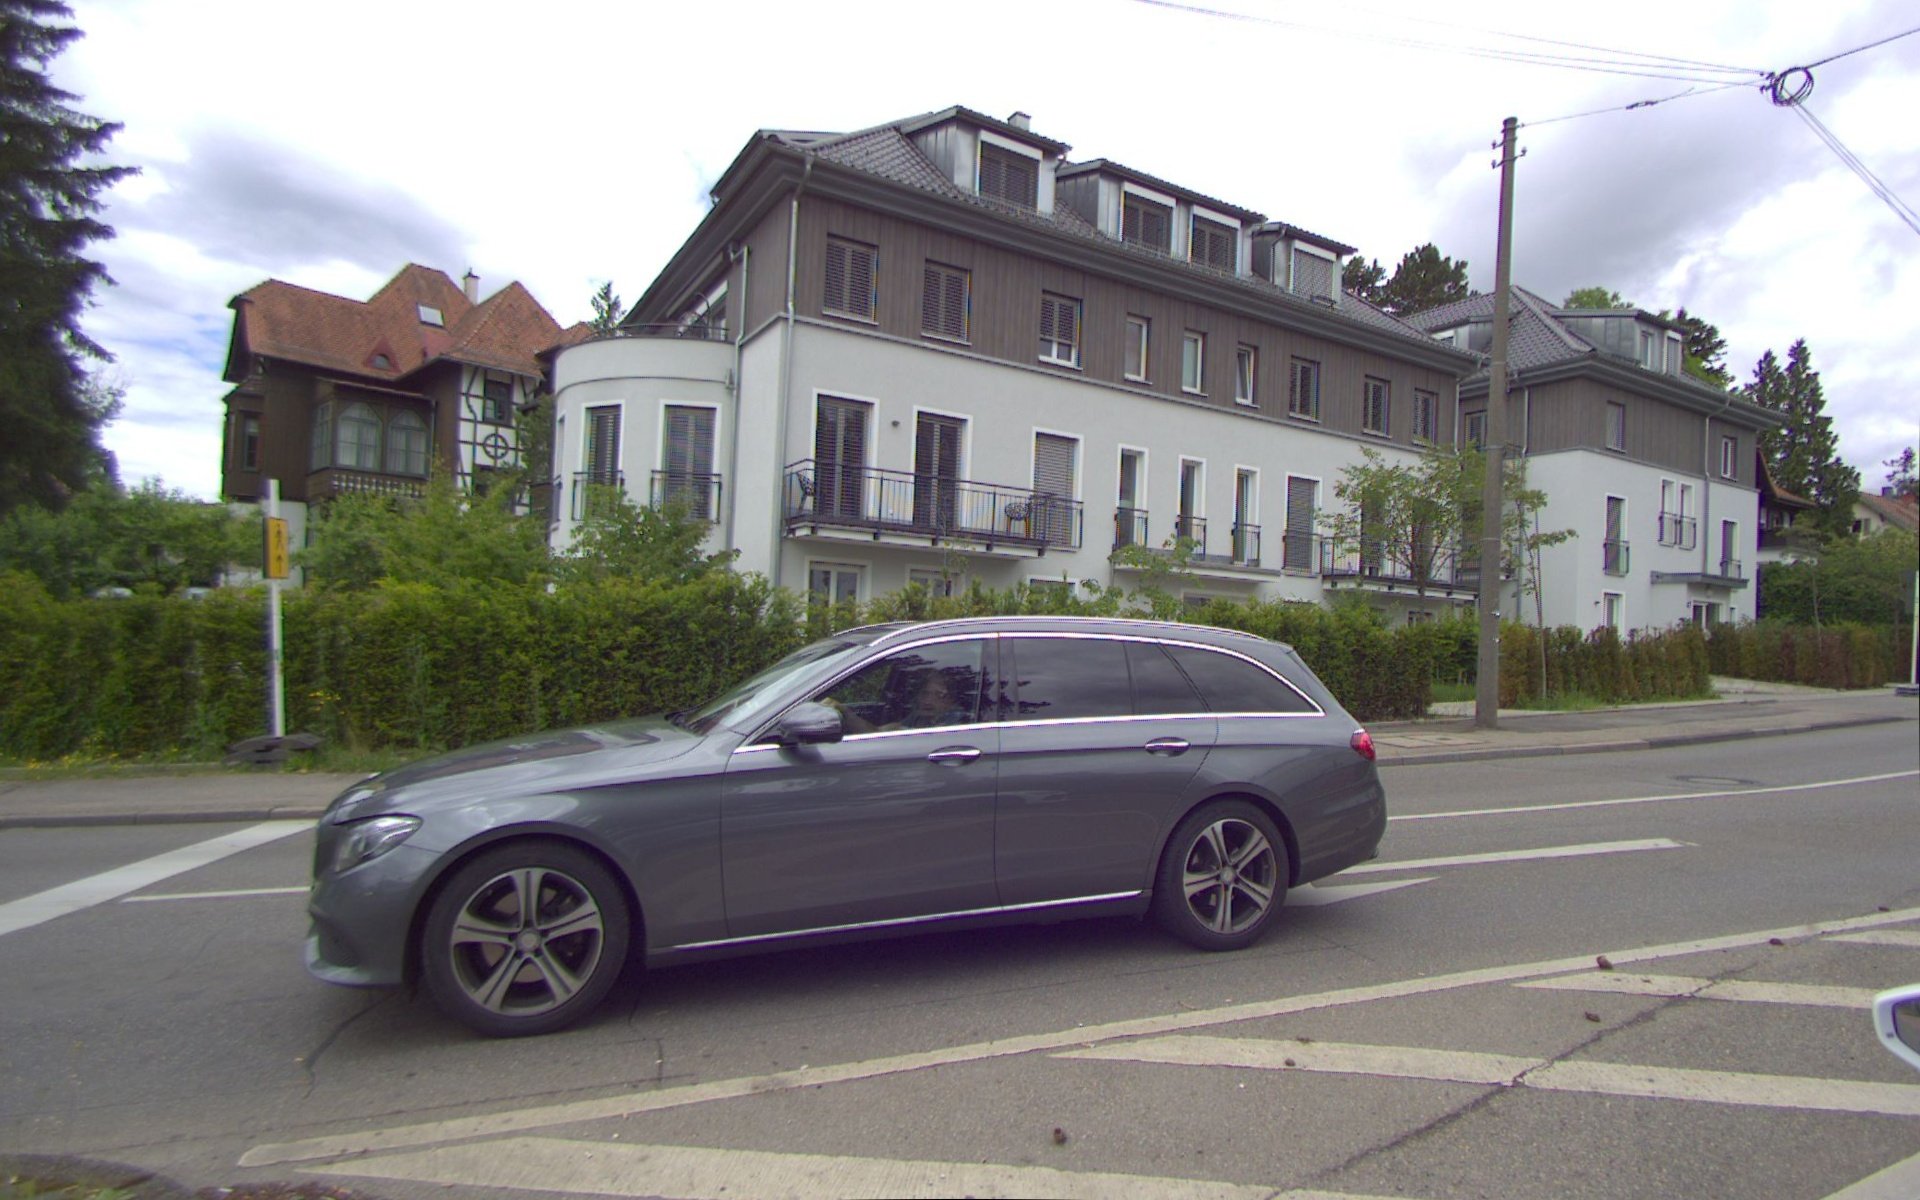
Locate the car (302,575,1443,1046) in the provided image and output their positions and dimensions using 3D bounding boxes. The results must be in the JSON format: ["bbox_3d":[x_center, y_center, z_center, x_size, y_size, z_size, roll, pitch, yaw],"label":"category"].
[{"bbox_3d":[-0.190,0.731,4.874,4.675,1.504,1.824,1,-2,-20],"label":"car"}]
